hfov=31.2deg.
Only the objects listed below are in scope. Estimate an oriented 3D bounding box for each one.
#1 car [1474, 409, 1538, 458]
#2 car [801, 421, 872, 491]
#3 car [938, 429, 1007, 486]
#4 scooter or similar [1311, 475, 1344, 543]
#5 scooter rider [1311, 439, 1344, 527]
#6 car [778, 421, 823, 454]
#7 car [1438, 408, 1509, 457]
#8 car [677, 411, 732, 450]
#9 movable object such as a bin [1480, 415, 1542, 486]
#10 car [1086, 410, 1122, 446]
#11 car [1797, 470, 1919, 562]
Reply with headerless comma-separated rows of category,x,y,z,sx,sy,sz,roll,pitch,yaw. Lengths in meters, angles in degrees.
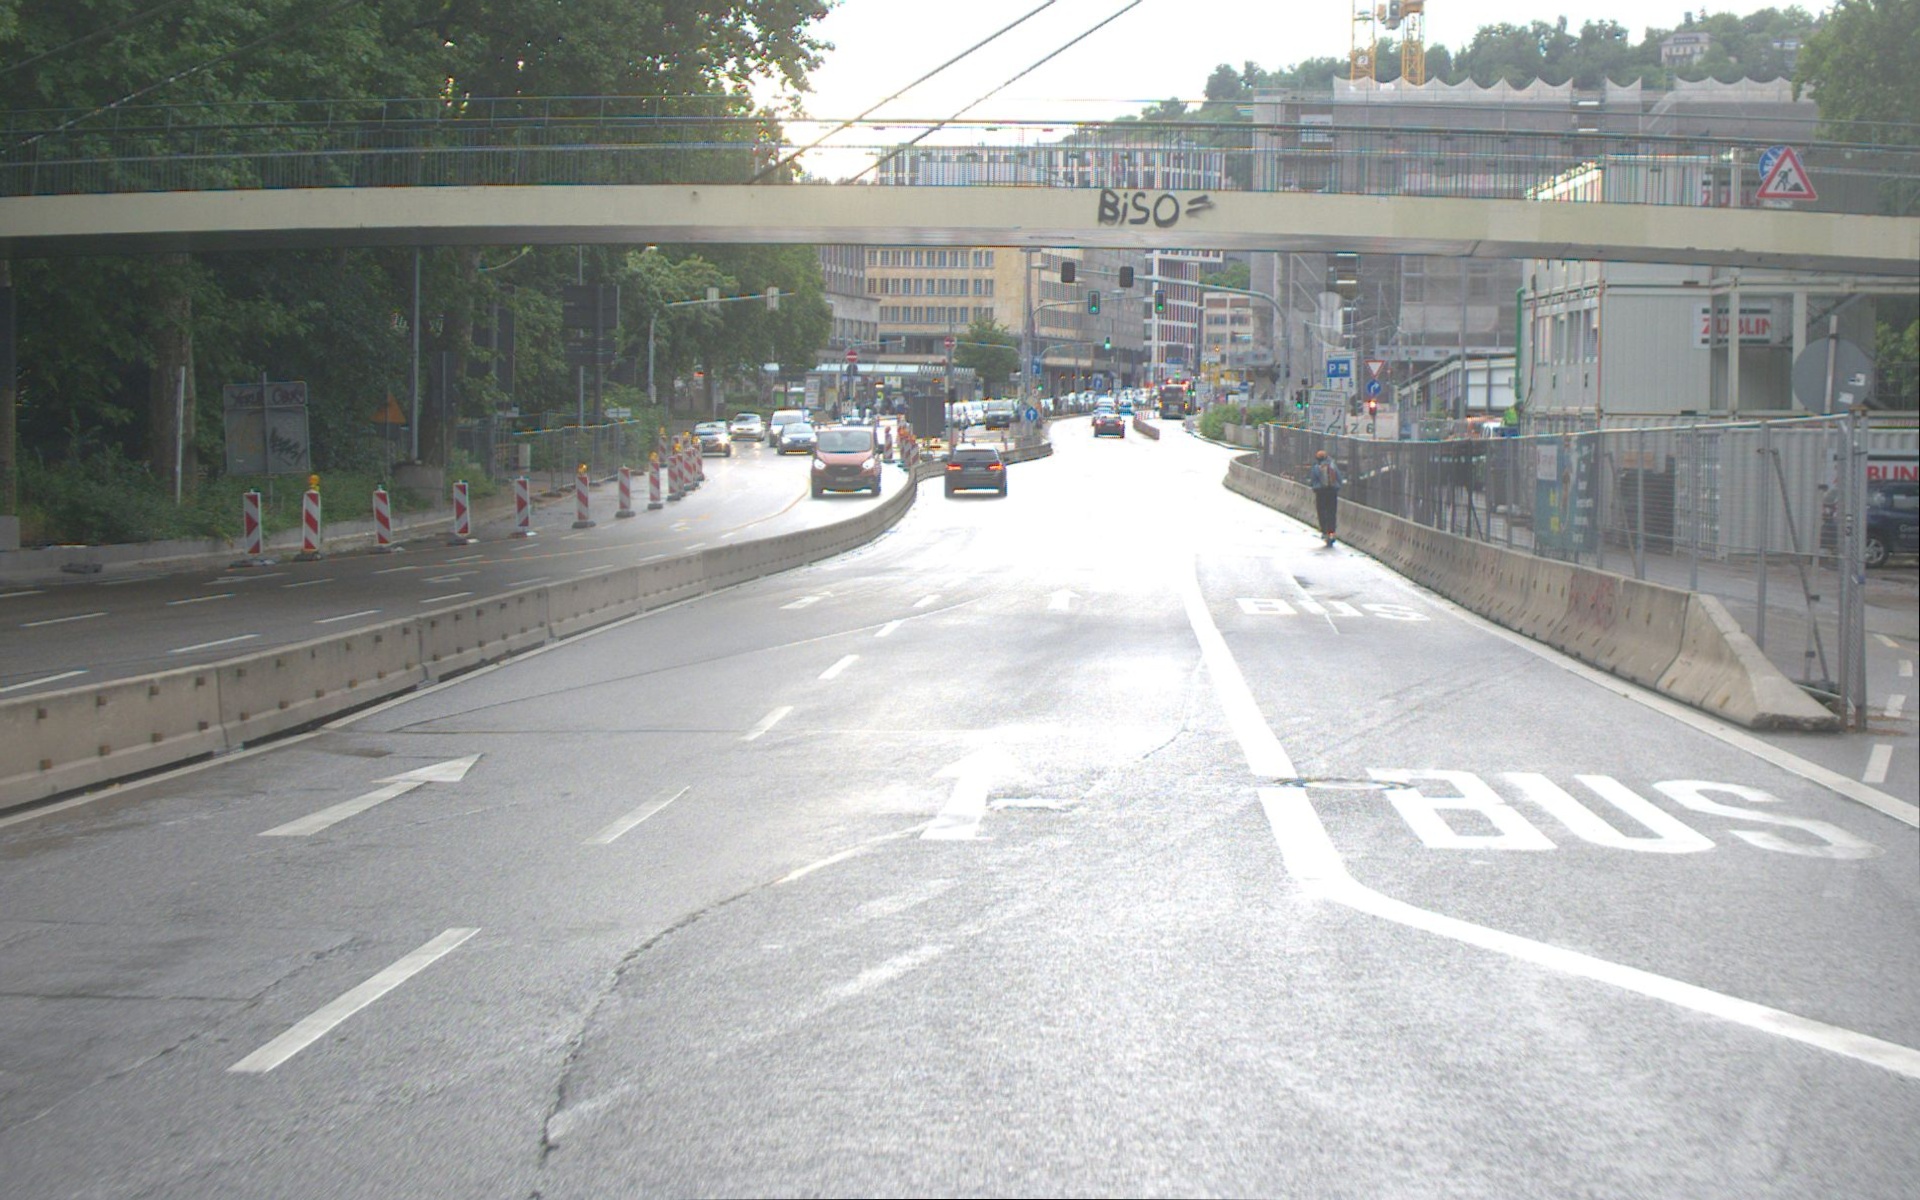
car,22.205,-6.804,139.975,1.846,1.800,5.087,1,5,1
car,-3.662,-4.241,101.841,2.030,1.930,5.045,-1,1,-2
car,0.345,-4.107,99.561,1.902,1.522,4.178,-1,1,0
scooter or similar,7.532,-1.874,70.564,0.597,1.314,1.667,1,3,4
scooter rider,7.536,-2.405,70.505,0.597,1.779,0.997,1,3,4
car,-7.332,-7.467,158.025,1.712,1.334,4.063,-5,3,-6
car,21.787,-7.129,145.943,1.911,1.968,5.165,1,3,-3
car,-11.596,-7.693,155.906,2.030,1.647,4.321,-1,4,-10
movable object such as a bin,17.428,-4.723,108.761,1.456,2.195,1.266,-1,5,-21
car,8.585,-10.216,204.617,1.994,2.007,4.000,-1,1,3
car,18.224,-1.569,64.587,4.542,1.623,1.788,1,4,1
